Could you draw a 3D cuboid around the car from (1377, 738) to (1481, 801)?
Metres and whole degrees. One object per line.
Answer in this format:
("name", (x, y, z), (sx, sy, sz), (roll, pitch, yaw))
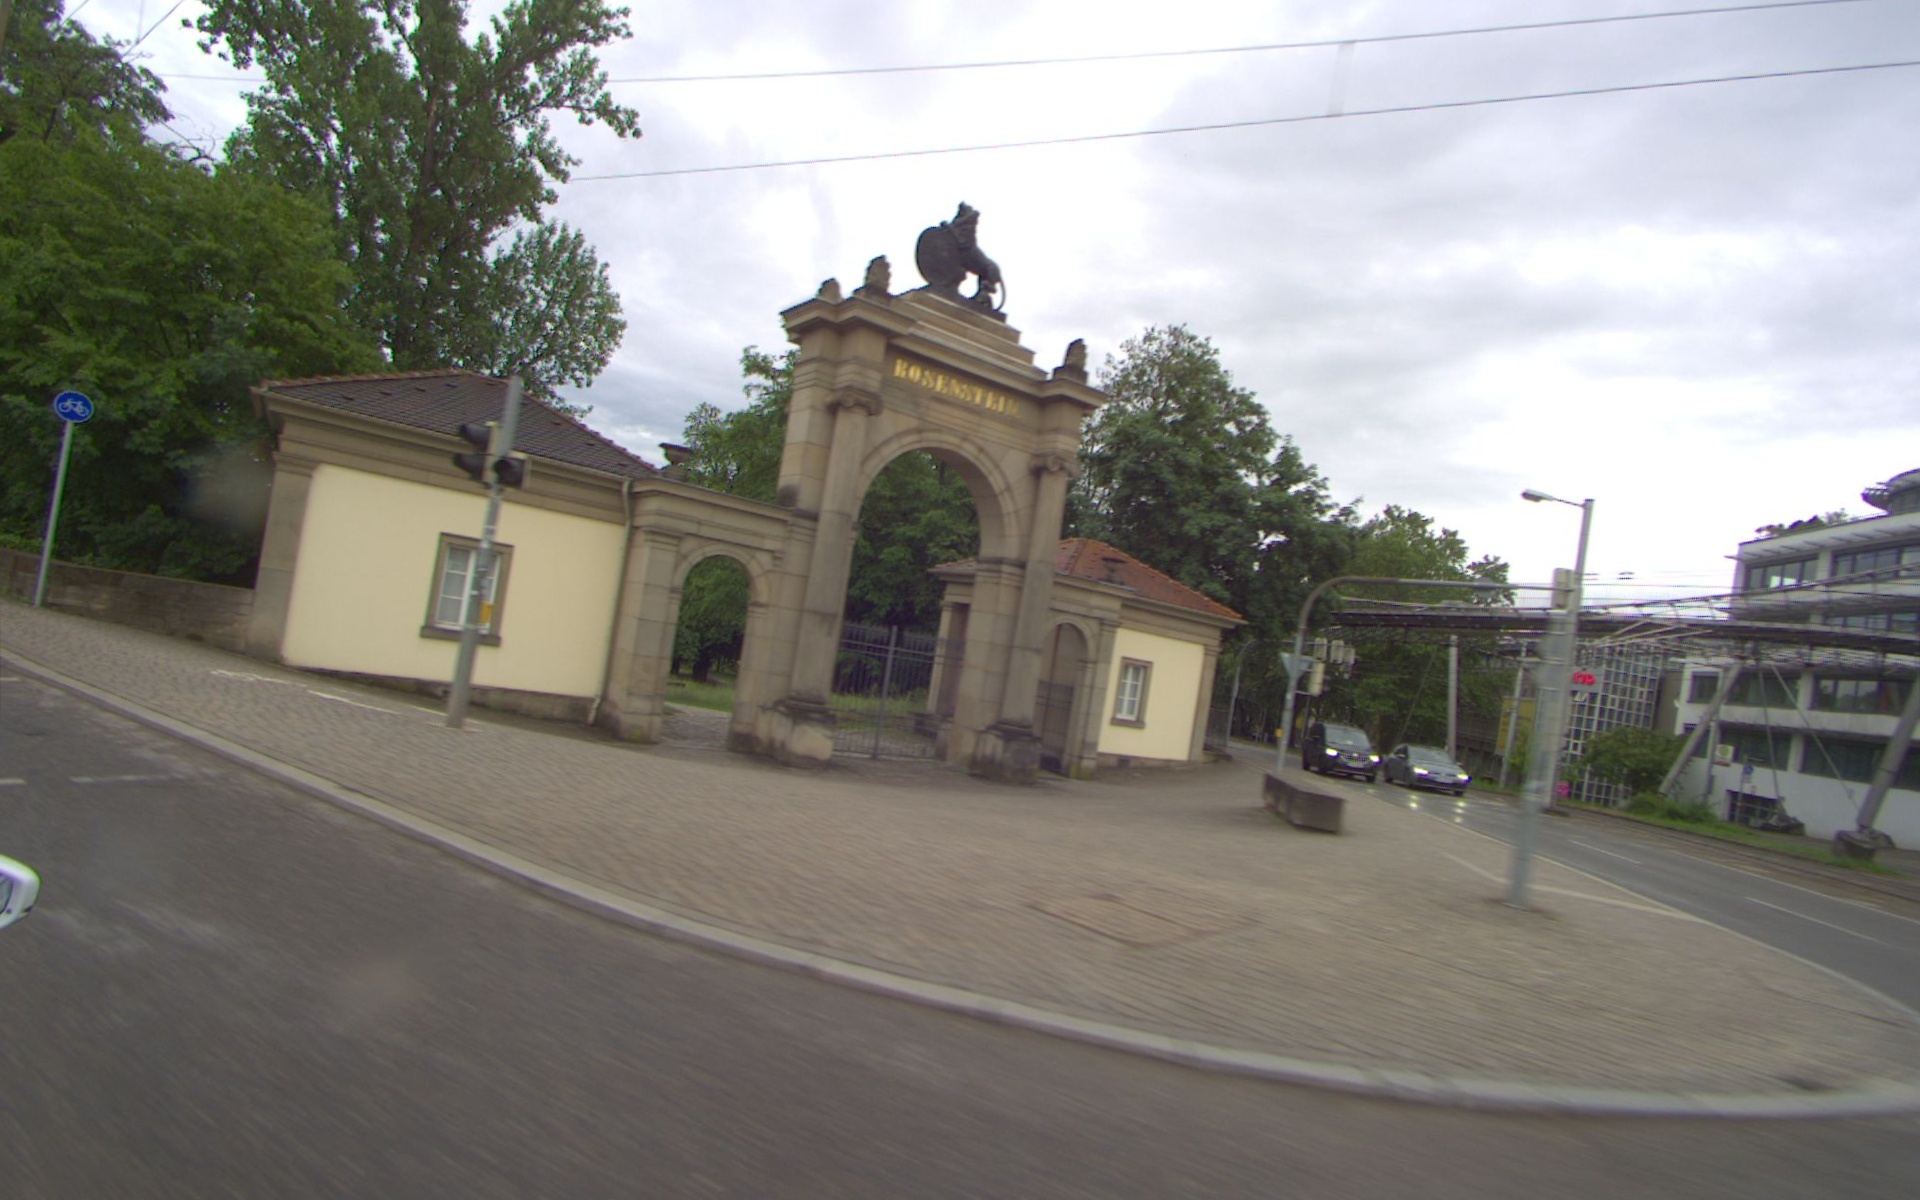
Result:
("car", (15.595, 5.613, 33.682), (1.962, 1.471, 4.270), (7, -3, 10))

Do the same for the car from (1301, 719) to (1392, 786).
("car", (13.211, 5.176, 34.624), (1.962, 1.753, 4.270), (7, -3, 10))
